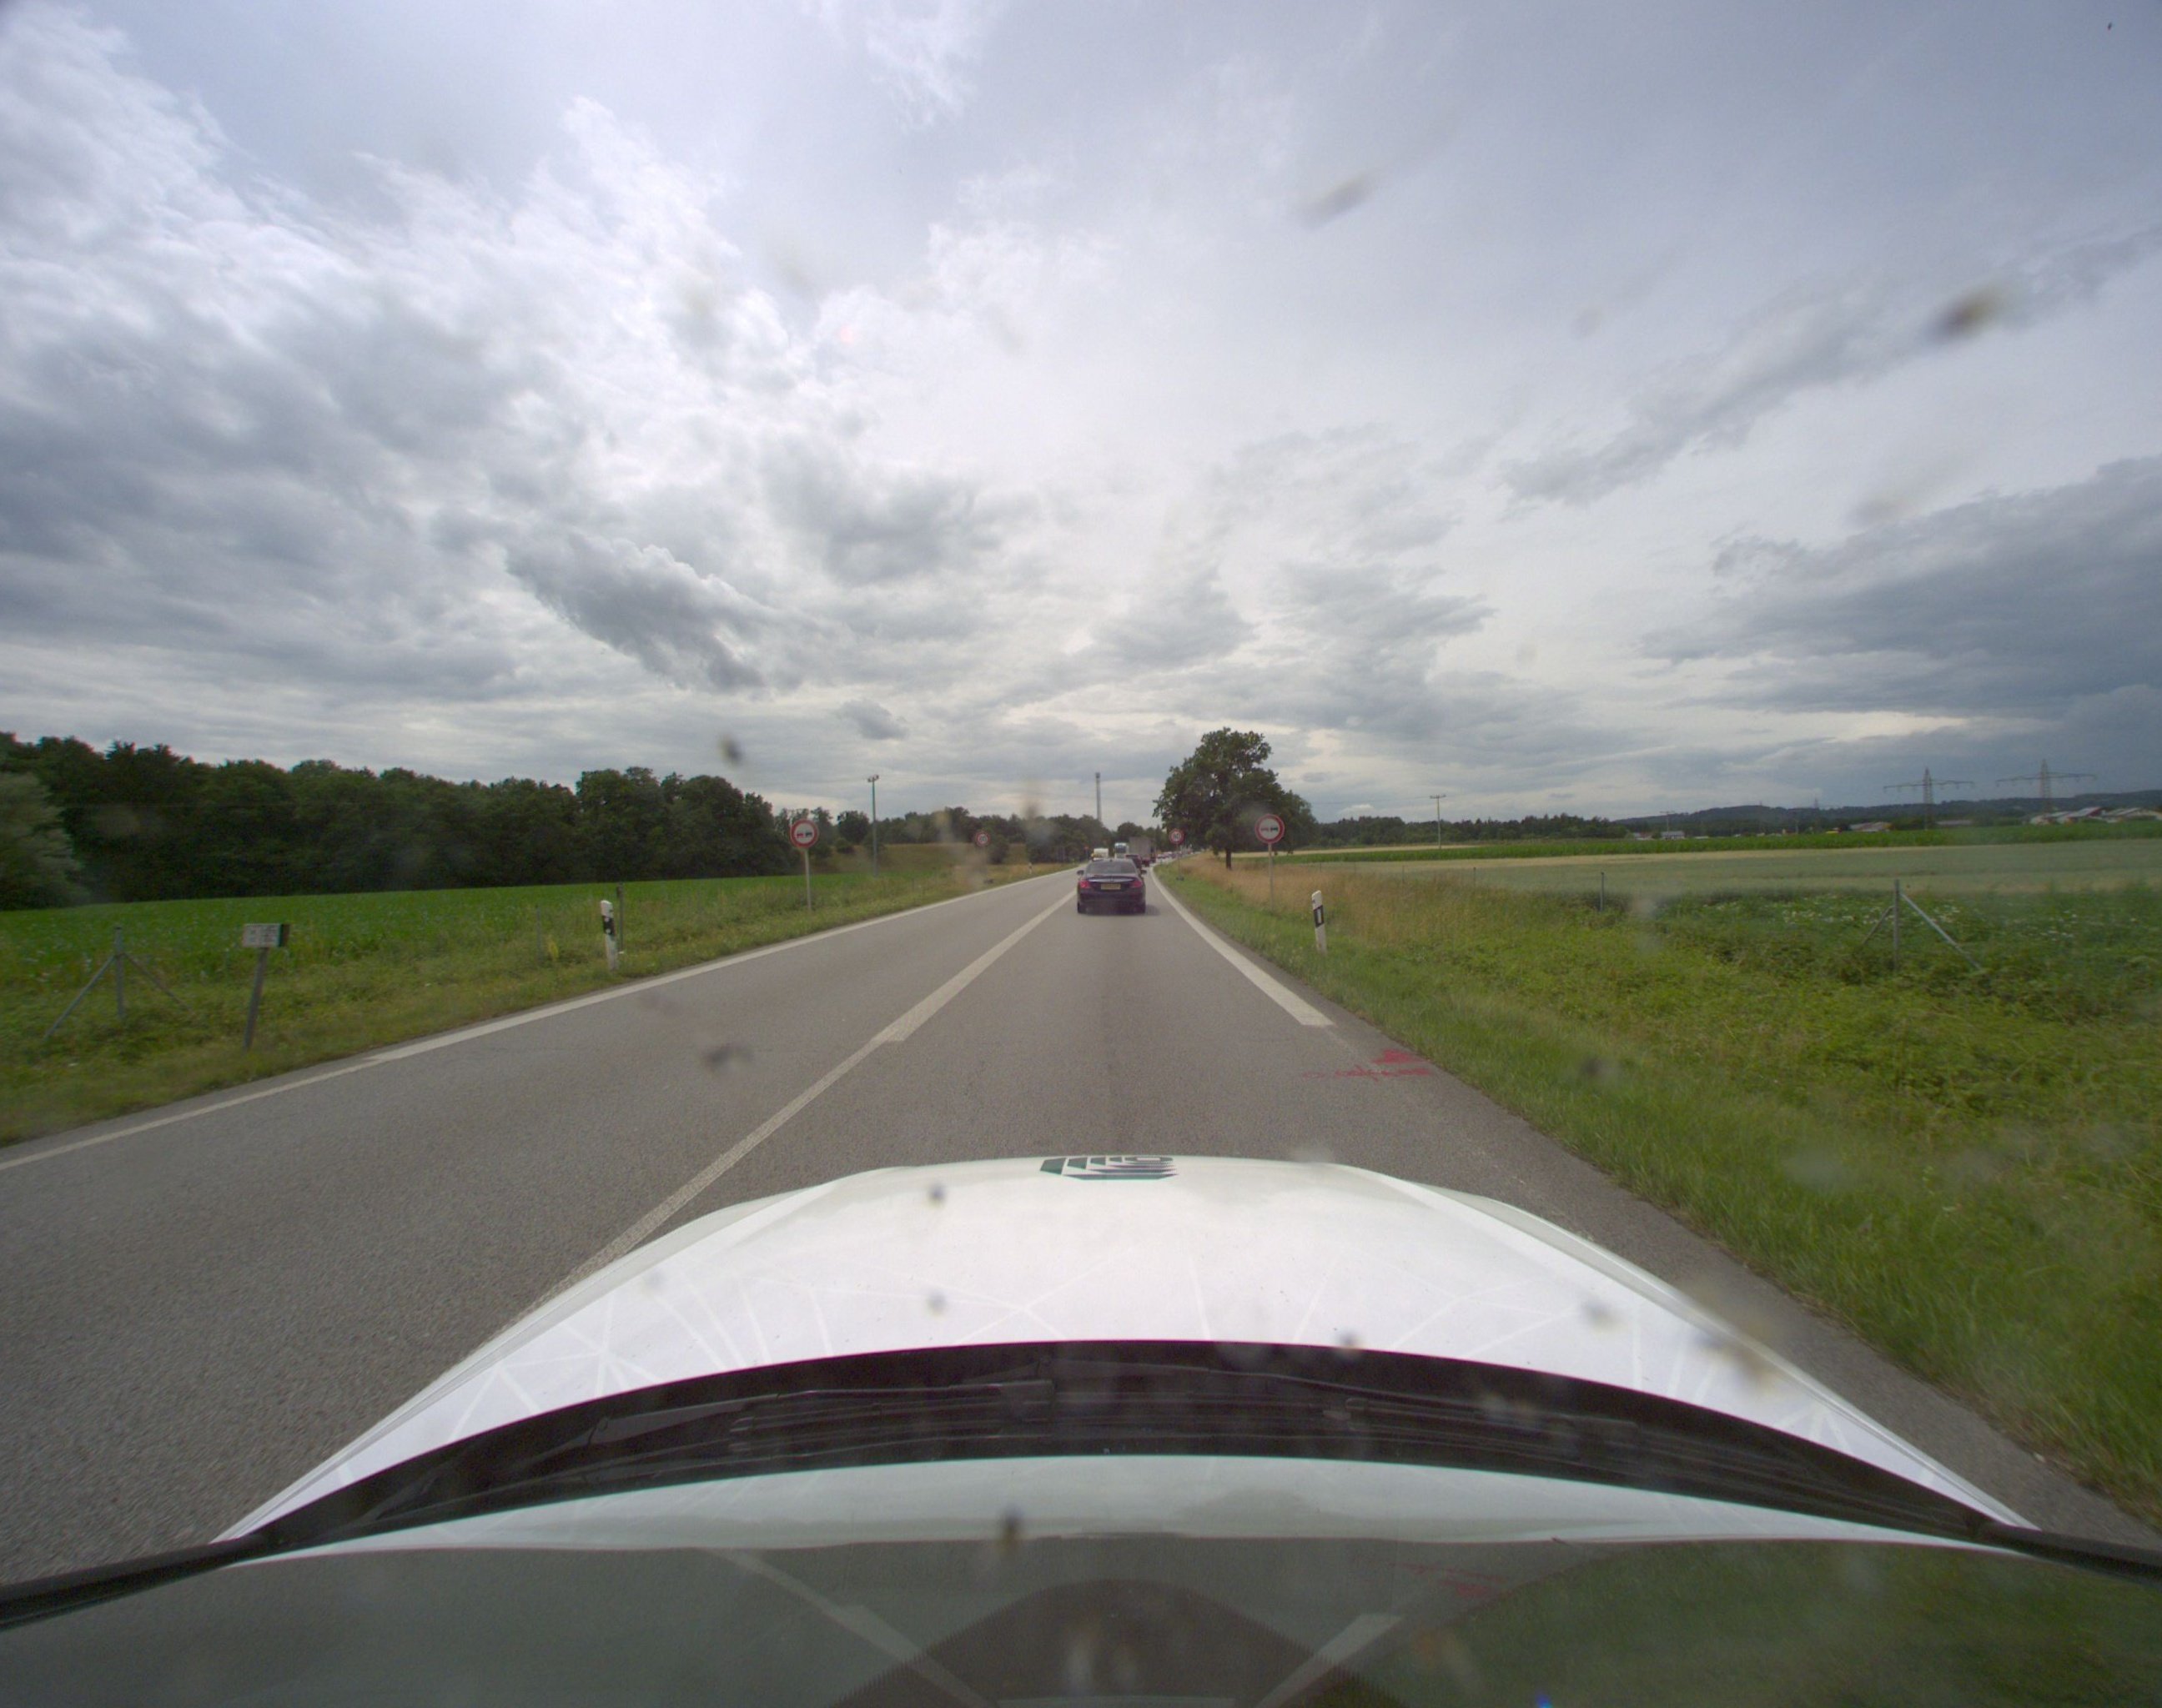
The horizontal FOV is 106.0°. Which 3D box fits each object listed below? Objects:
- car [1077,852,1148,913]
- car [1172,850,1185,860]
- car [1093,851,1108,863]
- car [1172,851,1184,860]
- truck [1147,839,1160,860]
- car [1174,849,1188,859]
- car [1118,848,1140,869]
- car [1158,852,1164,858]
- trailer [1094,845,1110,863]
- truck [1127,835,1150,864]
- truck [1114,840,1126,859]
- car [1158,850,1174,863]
[{"bbox_3d":[0.822,0.750,22.810,1.790,1.560,4.000,0,0,0],"label":"car"},{"bbox_3d":[17.224,0.146,143.793,1.790,1.662,4.000,0,0,0],"label":"car"},{"bbox_3d":[2.752,0.434,116.225,1.997,1.657,4.331,0,0,4],"label":"car"},{"bbox_3d":[18.755,0.252,157.171,1.790,1.662,4.000,0,0,0],"label":"car"},{"bbox_3d":[12.814,-0.755,144.053,1.987,3.526,4.592,0,-1,0],"label":"truck"},{"bbox_3d":[15.774,0.032,128.852,1.790,1.662,4.000,0,0,0],"label":"car"},{"bbox_3d":[4.593,0.426,78.365,1.987,2.014,4.000,0,-1,0],"label":"car"},{"bbox_3d":[20.856,0.222,212.967,1.641,1.395,3.711,0,0,5],"label":"car"},{"bbox_3d":[3.178,0.027,121.509,2.172,2.575,6.249,0,0,4],"label":"trailer"},{"bbox_3d":[7.271,-0.562,103.100,2.572,3.524,4.823,0,-1,8],"label":"truck"},{"bbox_3d":[8.384,-0.892,175.266,2.478,3.995,5.211,-1,0,5],"label":"truck"},{"bbox_3d":[11.381,0.362,109.459,1.790,1.662,4.000,0,0,0],"label":"car"}]
